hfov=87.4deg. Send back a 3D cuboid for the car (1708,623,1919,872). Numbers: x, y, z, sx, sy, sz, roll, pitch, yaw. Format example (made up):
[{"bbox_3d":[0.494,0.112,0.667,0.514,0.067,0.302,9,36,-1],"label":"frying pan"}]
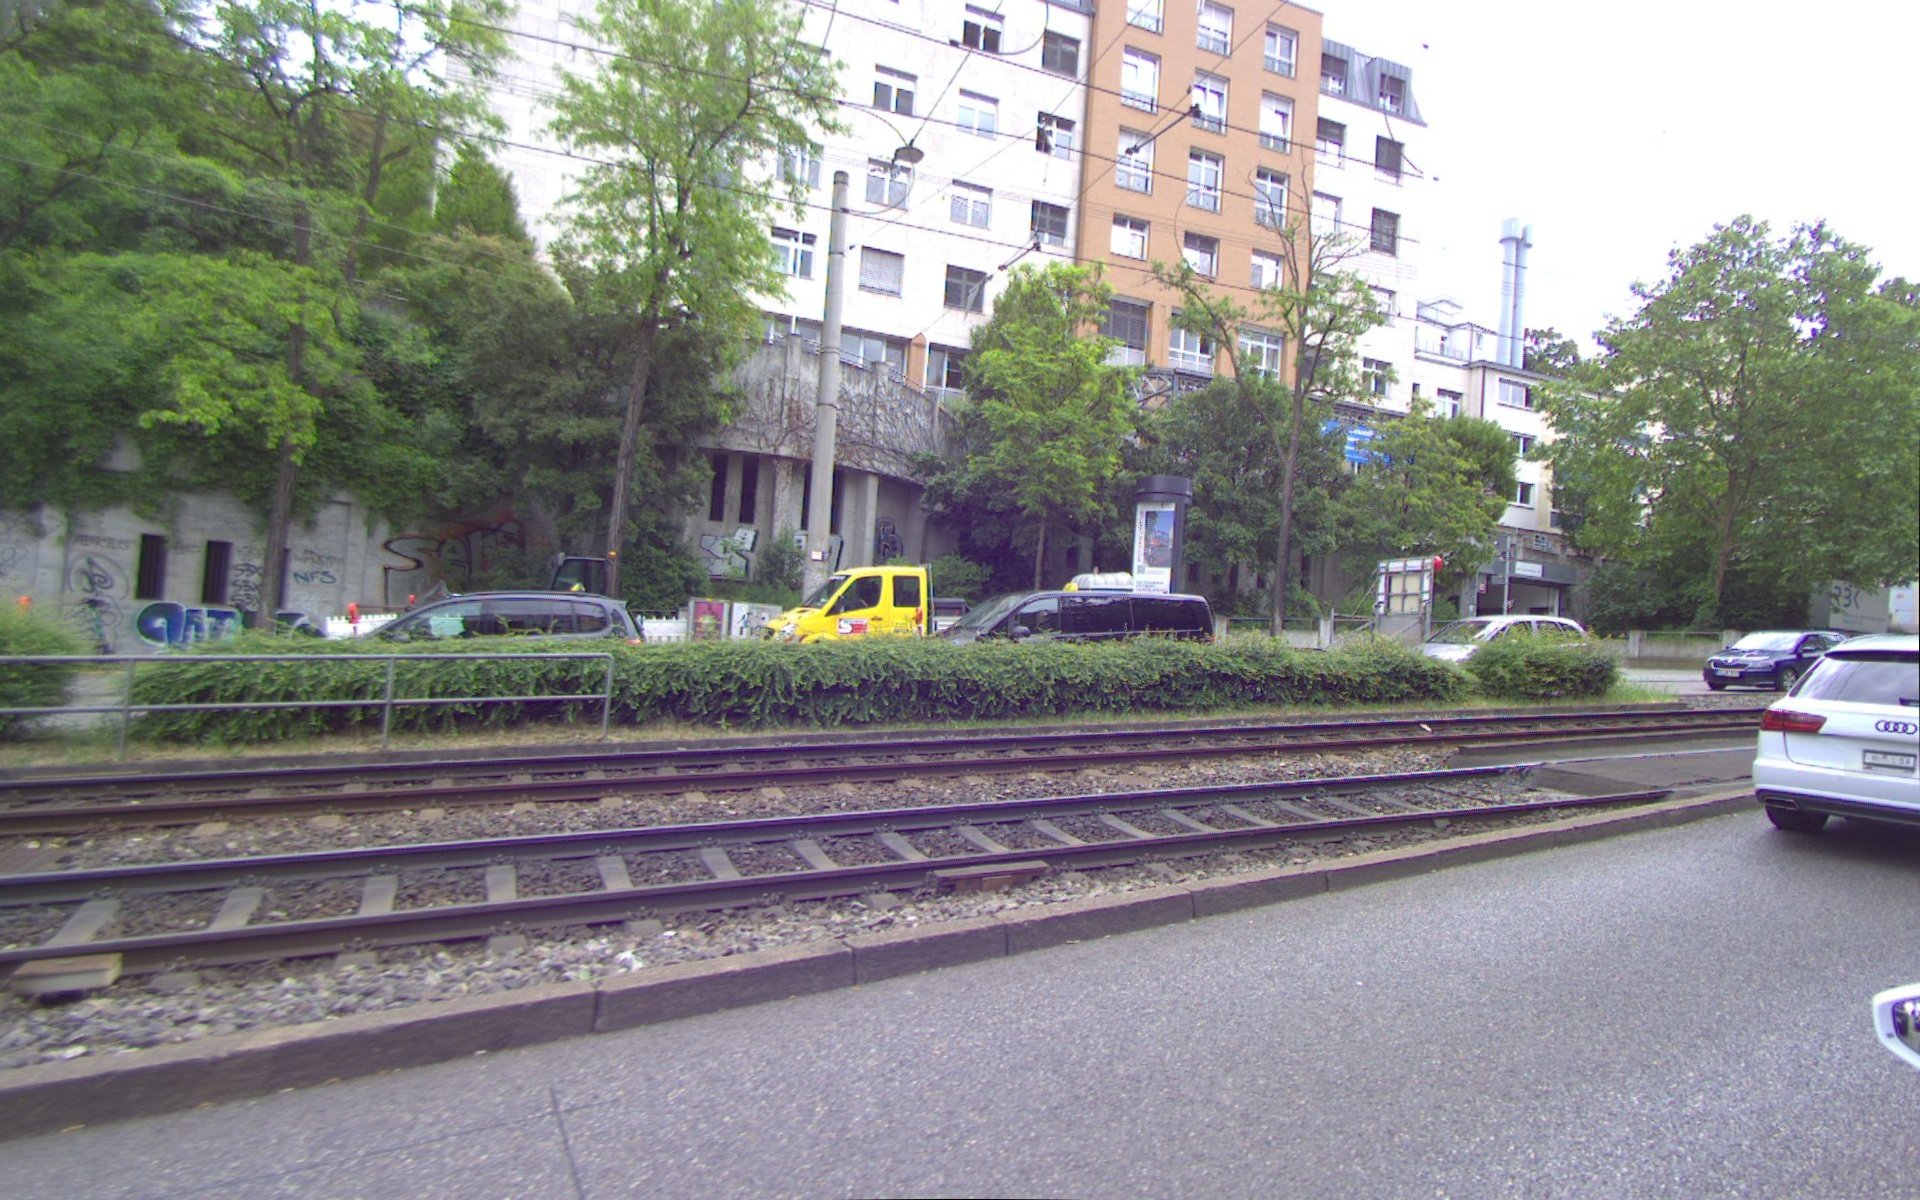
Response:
[{"bbox_3d":[7.594,0.945,7.386,4.566,1.474,1.868,2,-1,-32],"label":"car"}]

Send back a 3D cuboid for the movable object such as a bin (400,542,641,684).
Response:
[{"bbox_3d":[-8.326,0.234,19.340,4.038,2.501,1.929,1,1,-22],"label":"movable object such as a bin"}]

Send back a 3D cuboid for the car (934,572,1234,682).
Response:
[{"bbox_3d":[2.033,0.465,16.598,4.540,1.626,1.991,1,-1,-21],"label":"car"}]

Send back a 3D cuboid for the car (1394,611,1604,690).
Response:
[{"bbox_3d":[10.679,0.984,19.931,3.682,1.462,1.657,1,-1,-20],"label":"car"}]

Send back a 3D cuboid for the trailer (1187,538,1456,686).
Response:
[{"bbox_3d":[7.997,0.292,22.265,5.501,3.013,2.018,1,1,-18],"label":"trailer"}]

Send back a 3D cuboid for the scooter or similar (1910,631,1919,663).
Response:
[{"bbox_3d":[38.838,1.896,40.528,1.628,1.235,0.485,2,1,-40],"label":"scooter or similar"}]

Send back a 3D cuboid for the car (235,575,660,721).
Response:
[{"bbox_3d":[-6.378,0.600,13.056,4.554,1.626,1.989,1,-1,-24],"label":"car"}]

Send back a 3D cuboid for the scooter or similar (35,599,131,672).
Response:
[{"bbox_3d":[-16.006,0.637,18.356,1.280,1.307,0.424,1,-1,-37],"label":"scooter or similar"}]

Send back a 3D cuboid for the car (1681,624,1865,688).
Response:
[{"bbox_3d":[19.479,1.306,24.073,4.024,1.426,1.762,1,-1,-23],"label":"car"}]

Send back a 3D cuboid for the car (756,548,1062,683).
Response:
[{"bbox_3d":[-1.072,0.377,21.641,6.244,2.628,2.153,1,-1,-22],"label":"car"}]
